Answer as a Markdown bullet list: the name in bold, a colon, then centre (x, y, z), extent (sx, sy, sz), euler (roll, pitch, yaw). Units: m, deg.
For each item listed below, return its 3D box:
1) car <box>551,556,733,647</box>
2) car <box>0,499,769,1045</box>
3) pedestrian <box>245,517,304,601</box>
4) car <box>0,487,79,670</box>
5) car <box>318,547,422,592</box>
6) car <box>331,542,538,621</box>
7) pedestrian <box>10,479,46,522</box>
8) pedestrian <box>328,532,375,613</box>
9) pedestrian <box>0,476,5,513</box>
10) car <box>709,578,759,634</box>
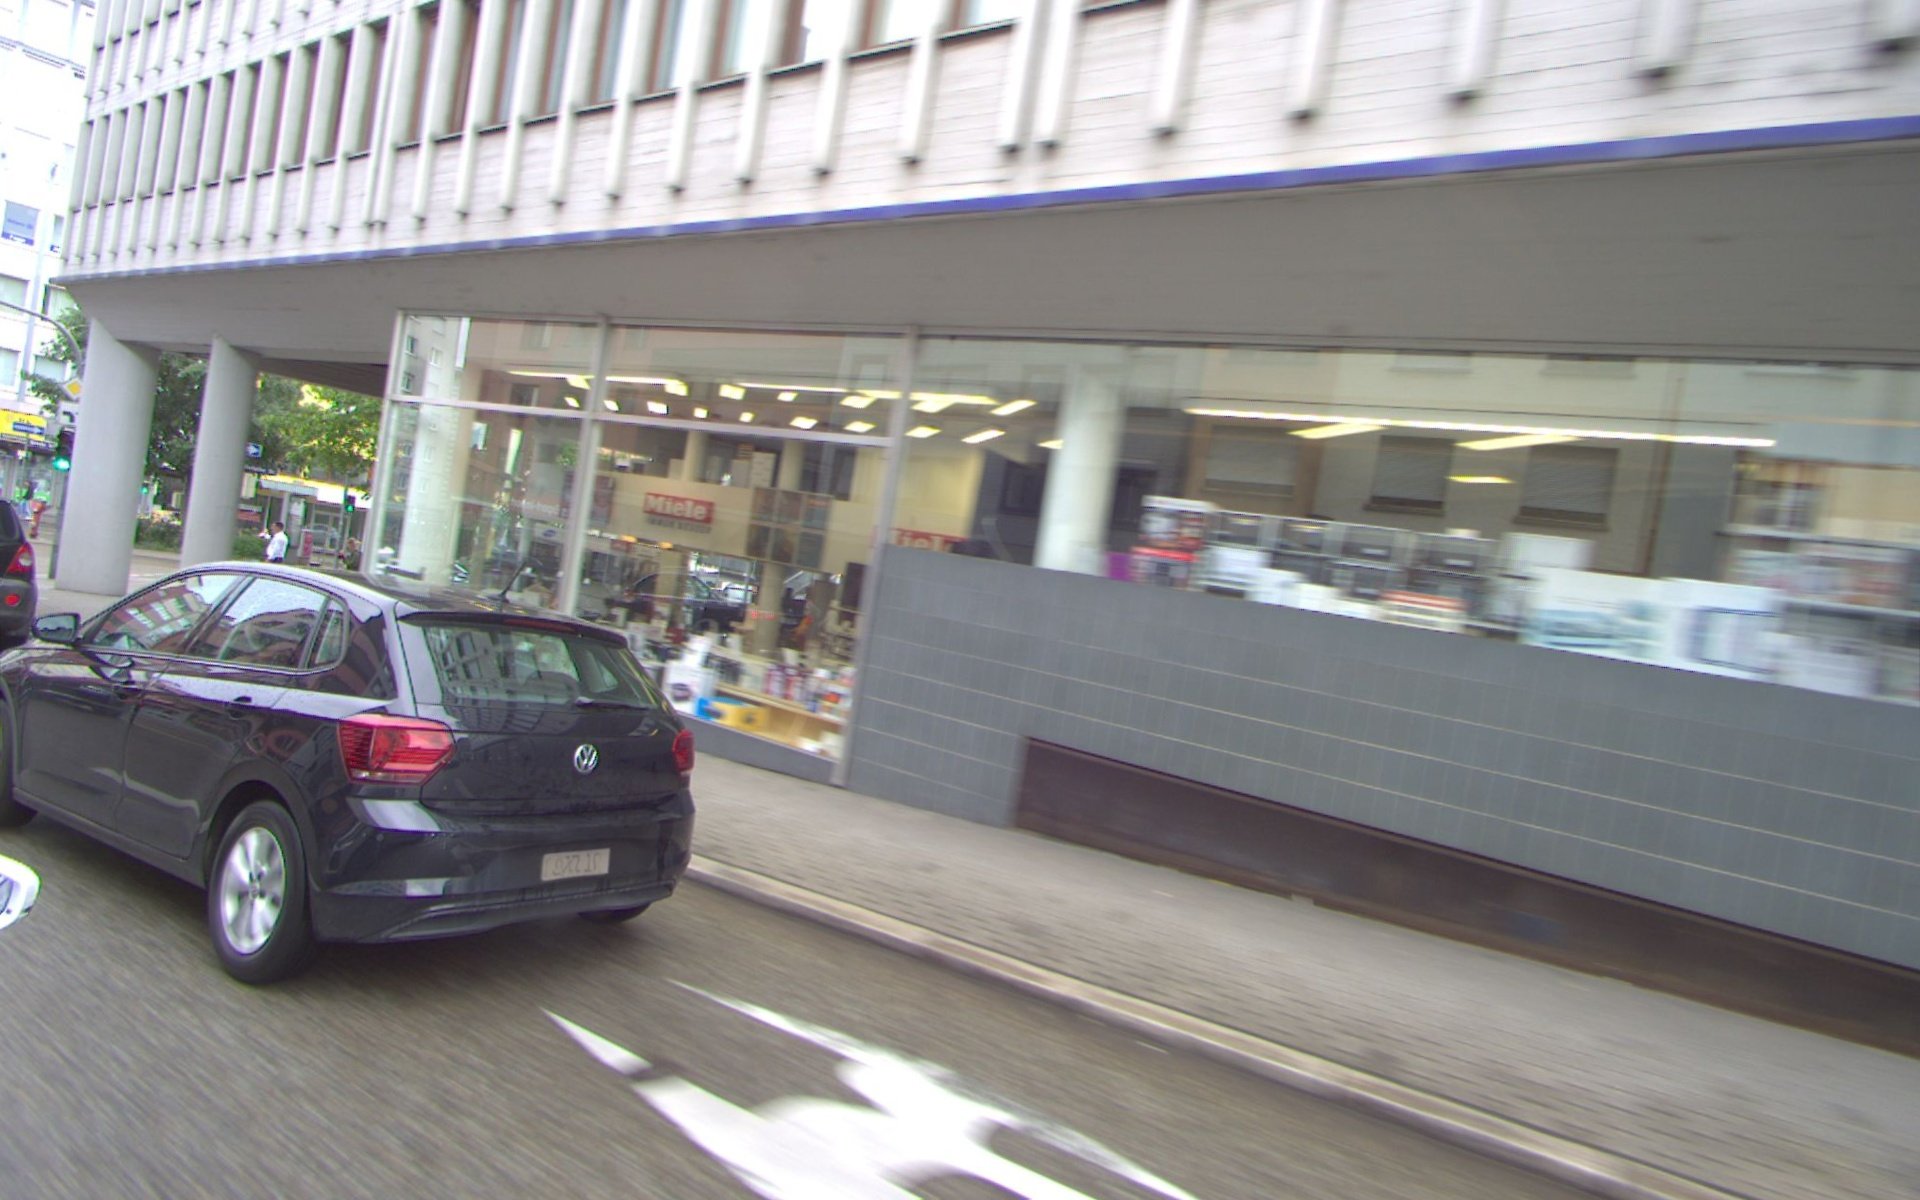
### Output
- **car**: centre (-9.291, 0.059, 29.388), extent (4.744, 2.021, 1.950), euler (8, -1, -24)
- **car**: centre (-3.064, 0.521, 4.794), extent (3.933, 1.492, 1.694), euler (7, -4, 31)
- **pedestrian**: centre (-16.018, -0.952, 23.526), extent (0.815, 1.841, 0.722), euler (6, 1, 26)
- **car**: centre (-11.312, -0.487, 10.592), extent (4.435, 1.712, 1.902), euler (6, -4, 35)
- **car**: centre (-30.081, -1.533, 51.329), extent (4.179, 1.430, 1.805), euler (11, 2, -43)
- **car**: centre (-14.735, -0.480, 28.518), extent (4.780, 1.512, 1.851), euler (8, -1, -17)
- **pedestrian**: centre (-44.417, -4.740, 47.948), extent (0.818, 1.822, 1.029), euler (15, 5, 41)
- **pedestrian**: centre (-13.510, -0.610, 22.333), extent (0.717, 1.711, 0.822), euler (5, 1, -36)
- **pedestrian**: centre (-46.030, -5.056, 47.574), extent (0.818, 1.711, 1.029), euler (15, 5, 41)
- **car**: centre (-8.813, 0.183, 39.493), extent (1.601, 1.657, 3.923), euler (8, 3, -11)
